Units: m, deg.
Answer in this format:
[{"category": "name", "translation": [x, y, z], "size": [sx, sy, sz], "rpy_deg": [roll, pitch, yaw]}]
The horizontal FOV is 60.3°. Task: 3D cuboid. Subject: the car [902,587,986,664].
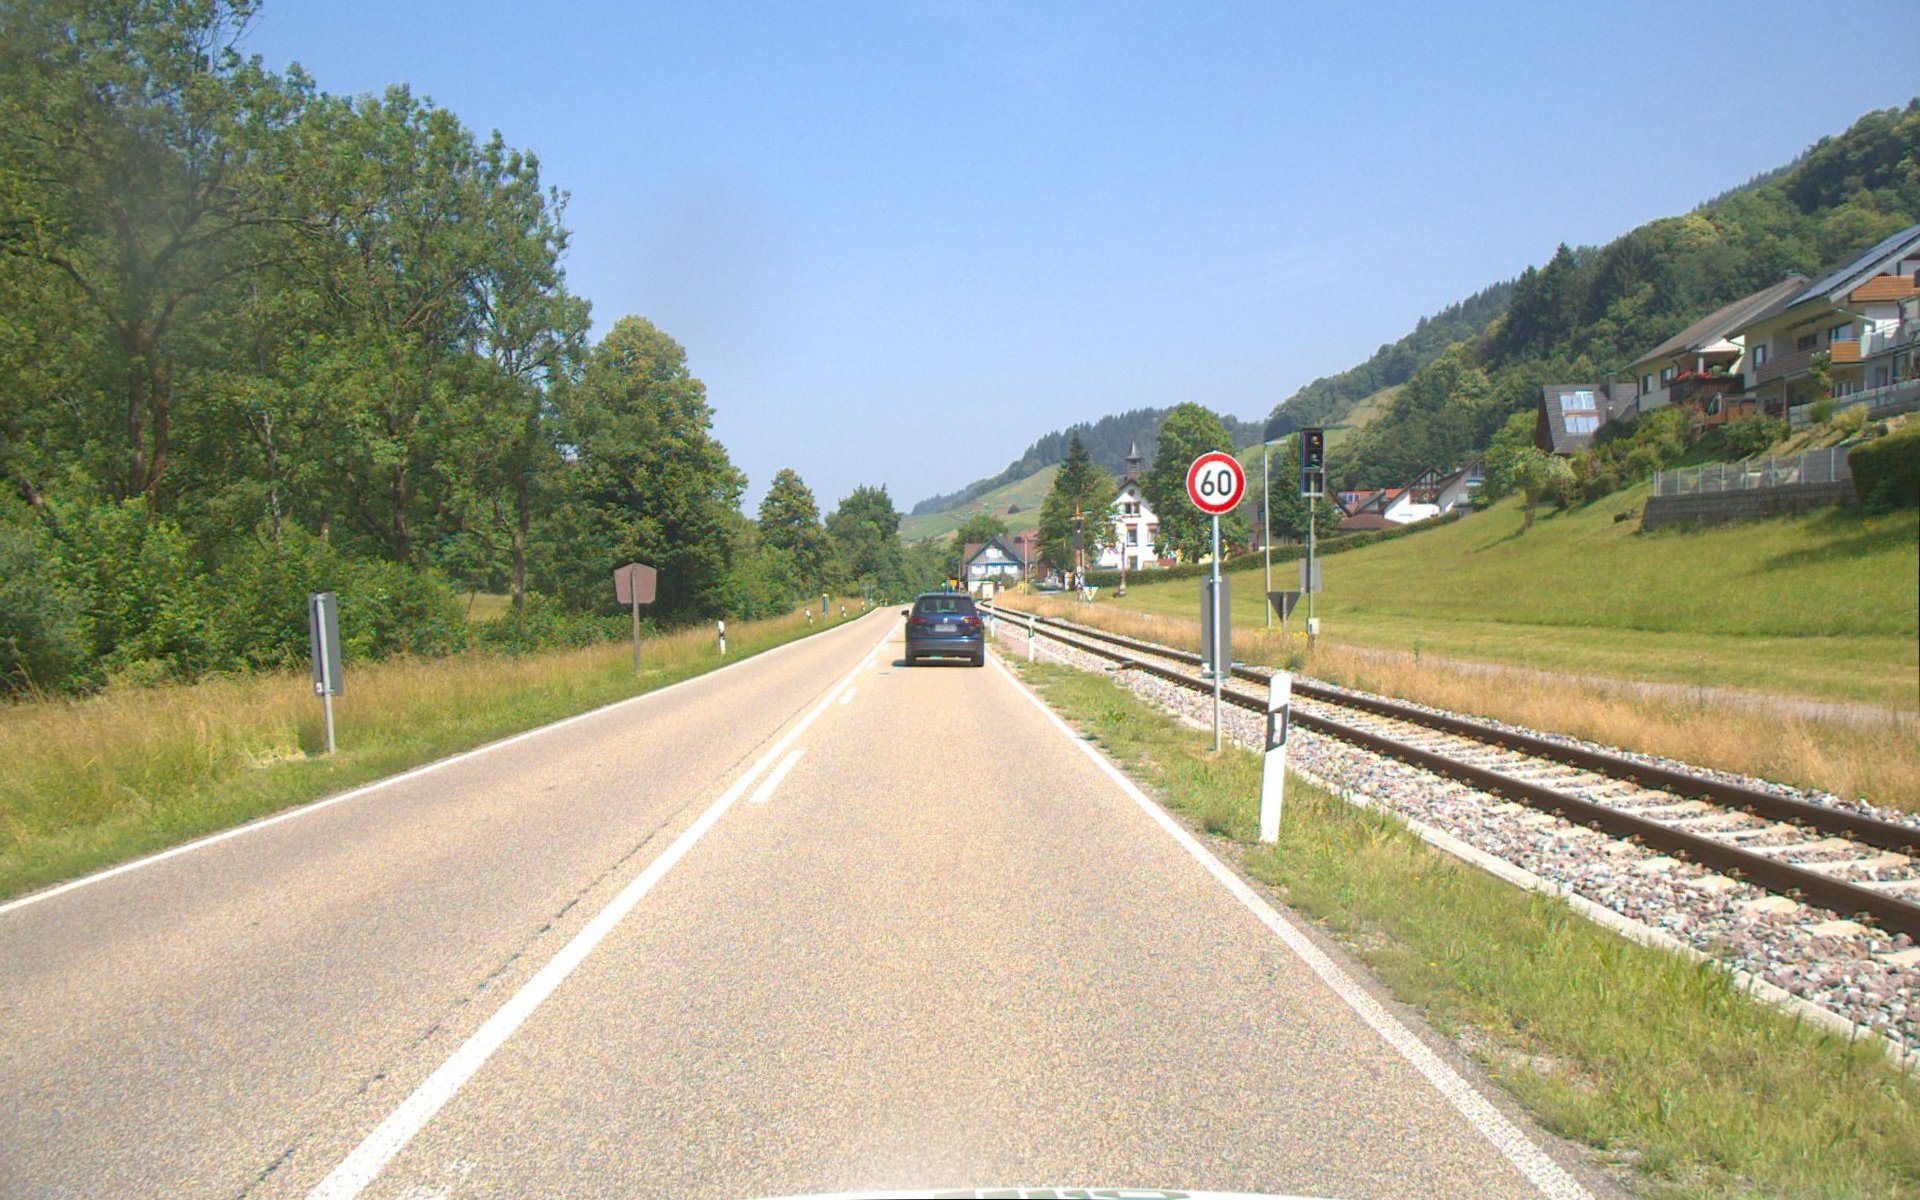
[{"category": "car", "translation": [-0.322, 0.540, 38.134], "size": [1.814, 1.678, 4.140], "rpy_deg": [0, 0, 1]}]
